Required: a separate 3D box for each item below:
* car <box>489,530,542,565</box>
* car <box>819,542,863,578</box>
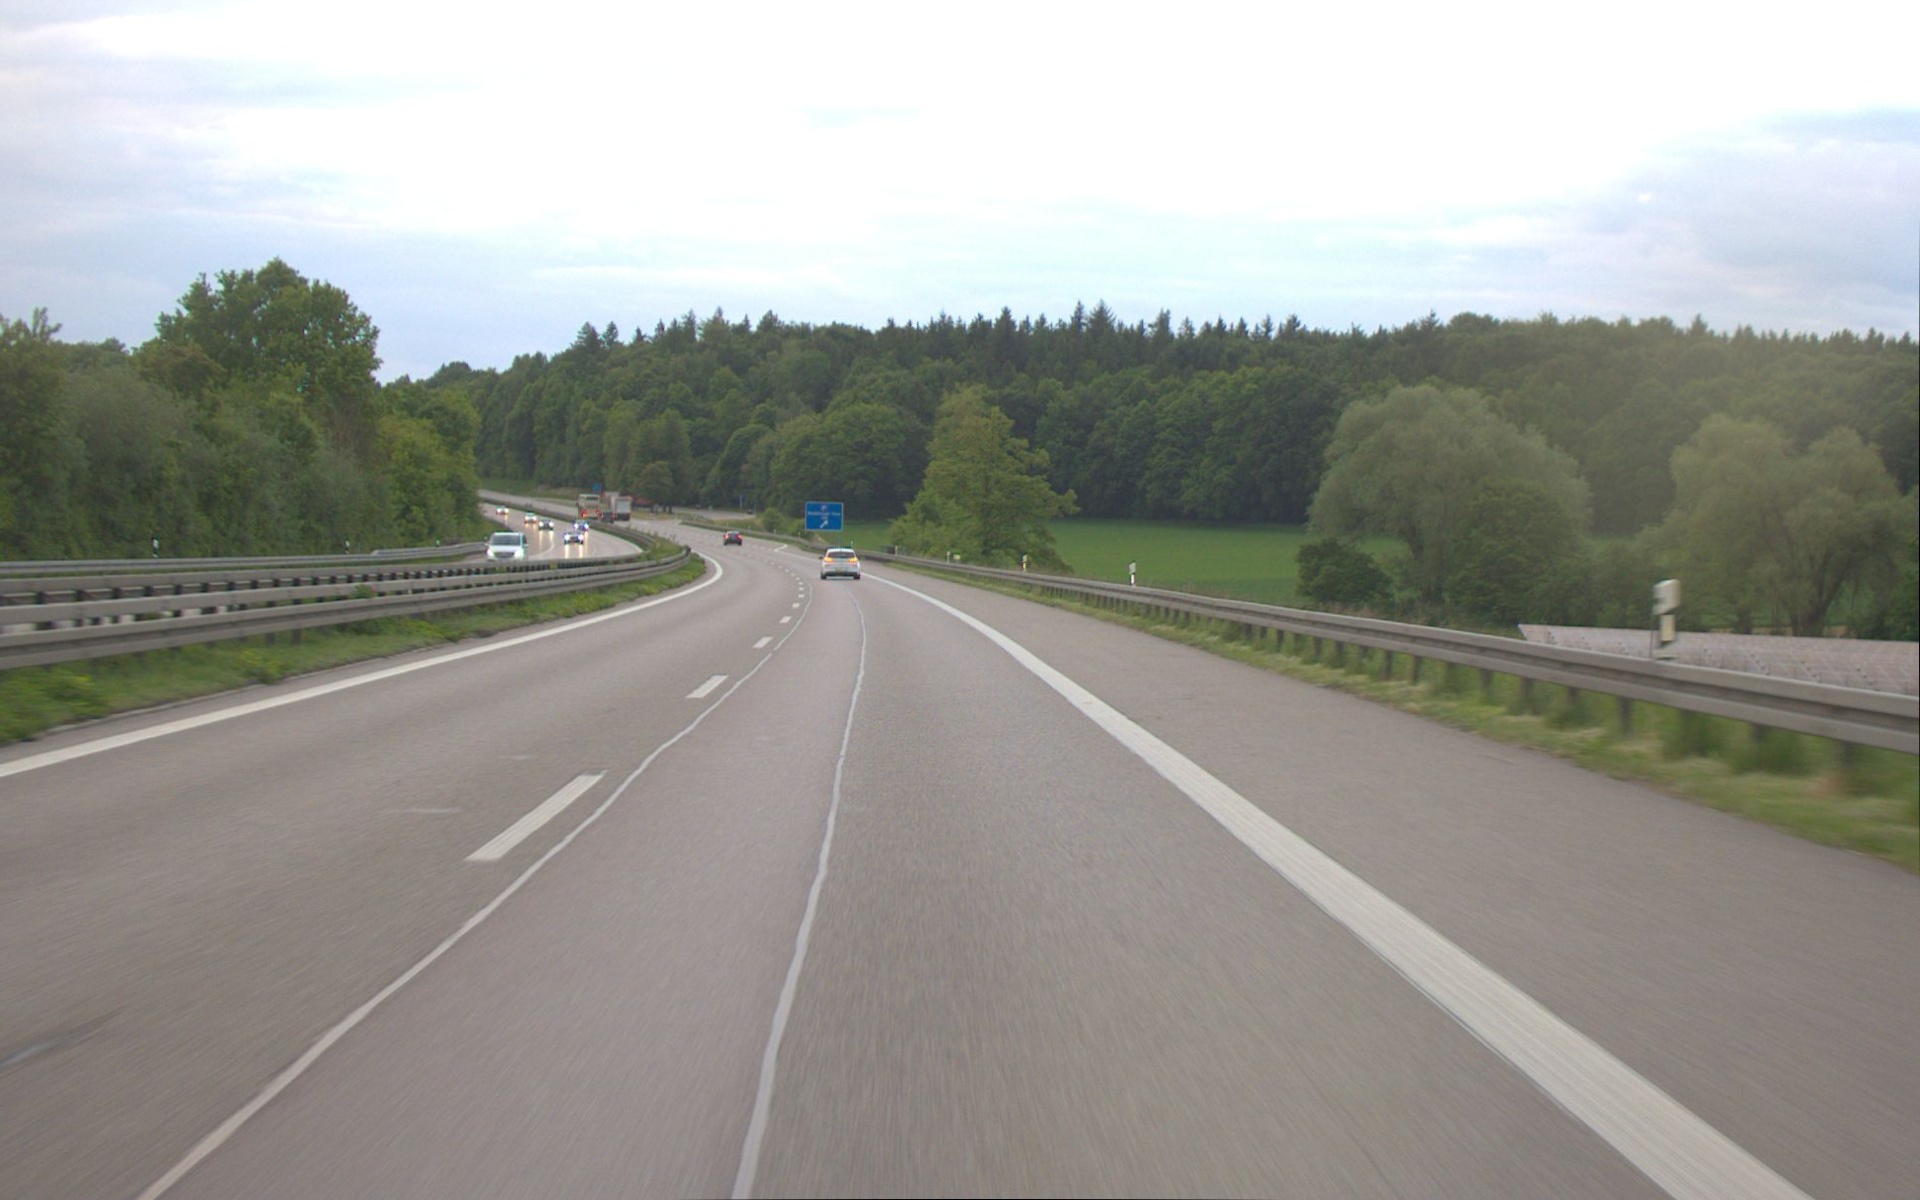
[{"bbox_3d":[-22.975,-2.746,177.757,1.993,1.621,5.736,4,1,-1],"label":"car"},{"bbox_3d":[-5.625,-1.908,161.931,1.951,1.526,4.081,4,1,-2],"label":"car"}]
